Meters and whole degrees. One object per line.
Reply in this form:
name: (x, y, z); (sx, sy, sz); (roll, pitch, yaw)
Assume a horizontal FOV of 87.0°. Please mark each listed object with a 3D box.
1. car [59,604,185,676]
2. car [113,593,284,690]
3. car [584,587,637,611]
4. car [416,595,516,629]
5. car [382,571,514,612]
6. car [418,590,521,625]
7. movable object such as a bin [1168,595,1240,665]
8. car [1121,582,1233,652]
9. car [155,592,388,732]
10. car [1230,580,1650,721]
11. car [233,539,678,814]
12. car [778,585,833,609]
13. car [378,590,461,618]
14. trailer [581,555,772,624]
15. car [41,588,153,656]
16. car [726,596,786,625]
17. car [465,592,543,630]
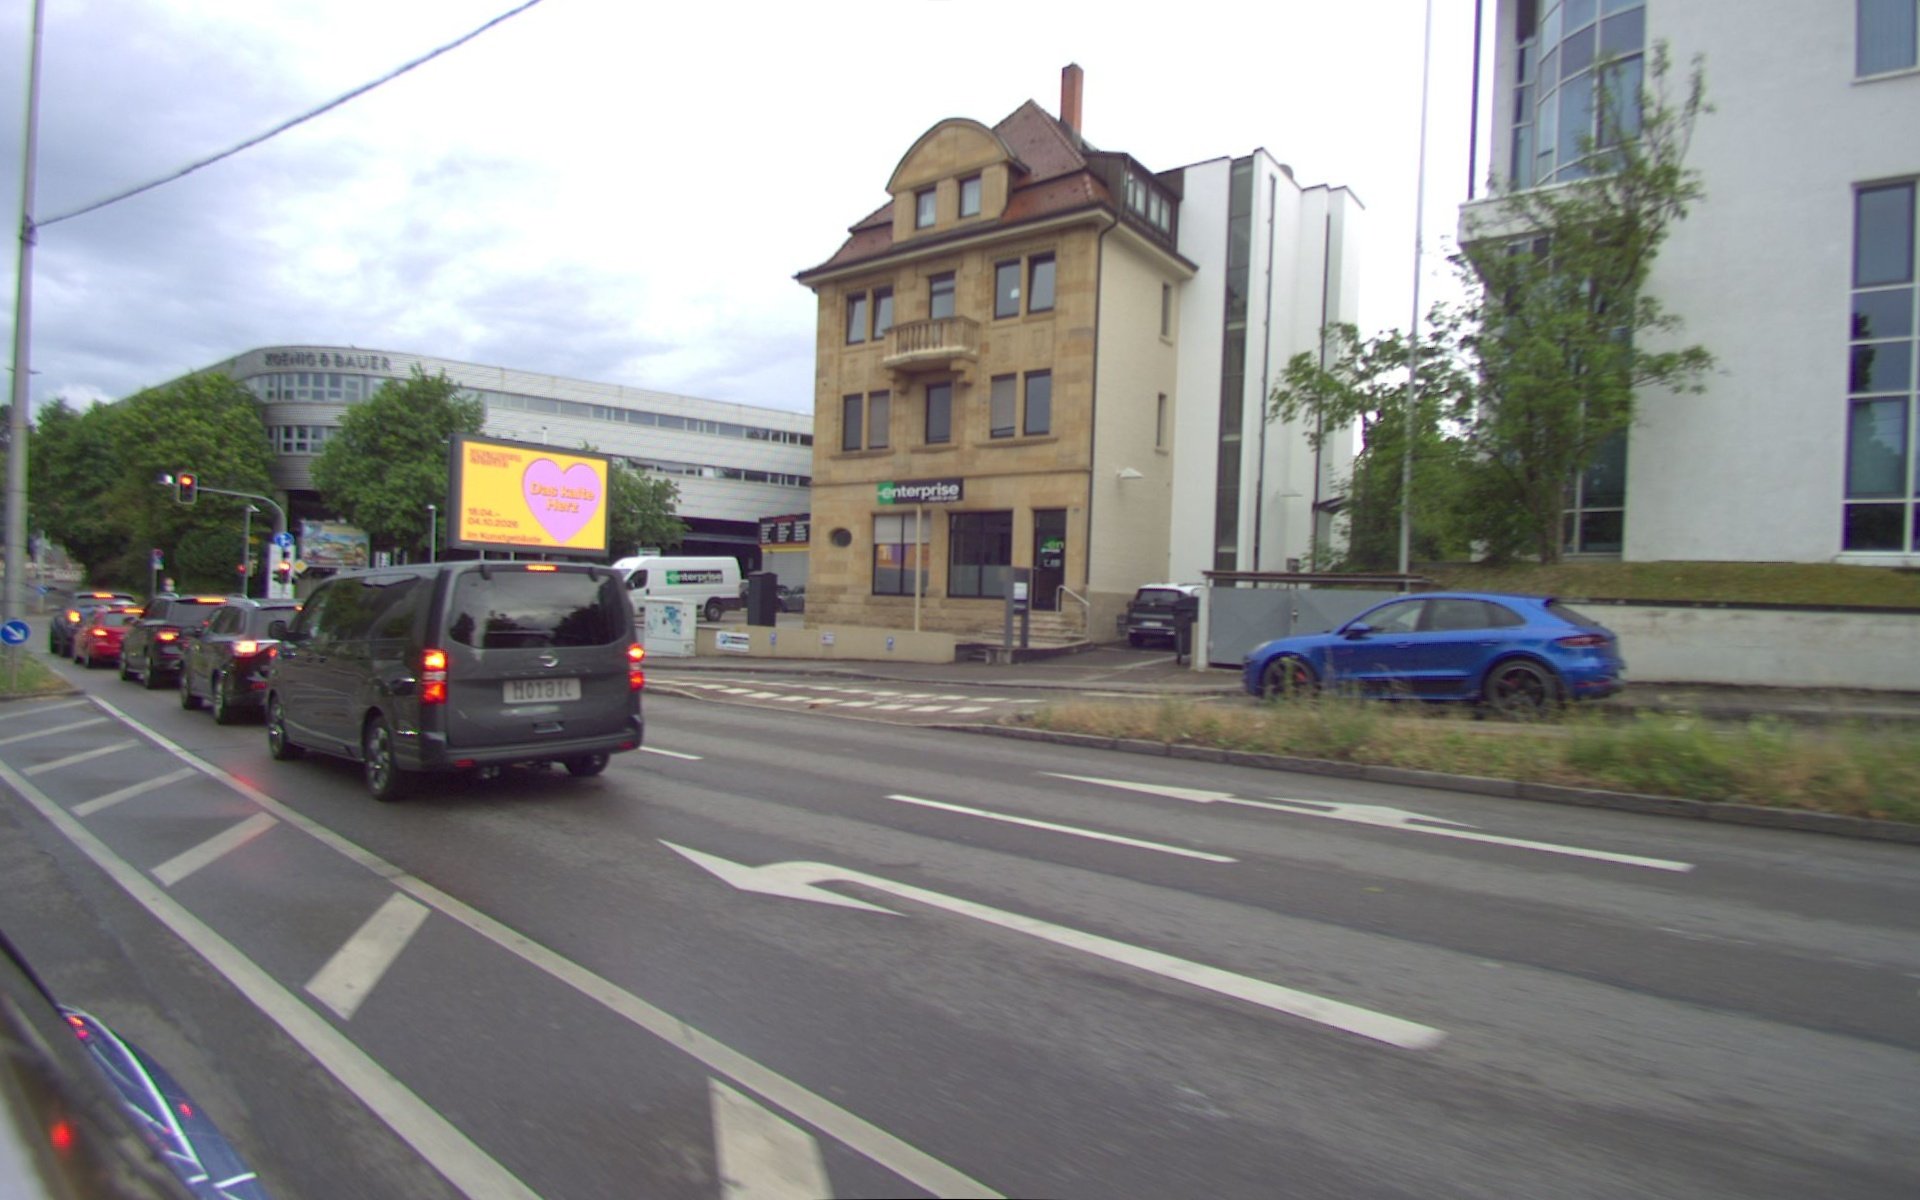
car: (-21.103, 0.948, 25.429); (4.441, 1.542, 1.787); (2, 0, 42)
car: (-15.217, 0.773, 20.128); (4.626, 1.710, 1.933); (-1, -2, 43)
car: (-20.827, -0.063, 60.262); (3.295, 1.331, 1.553); (2, 0, 41)
car: (-22.042, 0.499, 45.190); (1.873, 1.379, 3.573); (1, 2, 42)
car: (-24.922, -0.363, 49.460); (2.215, 1.815, 5.309); (2, 0, 34)
car: (-20.909, 0.285, 43.186); (1.742, 1.379, 3.573); (1, 2, 42)
movable object such as a bin: (5.180, 0.618, 21.476); (1.096, 1.416, 1.175); (-1, -1, 37)
car: (5.688, 0.439, 26.345); (1.713, 1.688, 3.014); (2, 0, 37)
car: (-10.001, 0.762, 14.540); (4.728, 1.616, 1.670); (2, 0, 42)
car: (6.079, 0.634, 13.199); (4.667, 1.546, 1.671); (-2, -3, 40)
car: (-4.879, 0.573, 9.372); (5.040, 1.881, 1.993); (-1, -2, 42)
car: (-7.640, -0.152, 49.837); (1.301, 1.116, 3.422); (2, 0, -34)
car: (-33.556, 0.220, 62.867); (4.310, 1.612, 2.039); (-2, 1, -36)
trailer: (-10.938, -0.333, 39.722); (2.394, 2.446, 7.023); (2, 0, 41)
car: (-25.579, 0.624, 29.924); (5.170, 1.832, 1.912); (0, -2, 43)
car: (-10.825, 0.562, 53.446); (1.351, 1.417, 4.350); (2, -2, -37)
car: (-18.826, 0.428, 41.847); (1.227, 1.435, 2.650); (1, 2, 42)
